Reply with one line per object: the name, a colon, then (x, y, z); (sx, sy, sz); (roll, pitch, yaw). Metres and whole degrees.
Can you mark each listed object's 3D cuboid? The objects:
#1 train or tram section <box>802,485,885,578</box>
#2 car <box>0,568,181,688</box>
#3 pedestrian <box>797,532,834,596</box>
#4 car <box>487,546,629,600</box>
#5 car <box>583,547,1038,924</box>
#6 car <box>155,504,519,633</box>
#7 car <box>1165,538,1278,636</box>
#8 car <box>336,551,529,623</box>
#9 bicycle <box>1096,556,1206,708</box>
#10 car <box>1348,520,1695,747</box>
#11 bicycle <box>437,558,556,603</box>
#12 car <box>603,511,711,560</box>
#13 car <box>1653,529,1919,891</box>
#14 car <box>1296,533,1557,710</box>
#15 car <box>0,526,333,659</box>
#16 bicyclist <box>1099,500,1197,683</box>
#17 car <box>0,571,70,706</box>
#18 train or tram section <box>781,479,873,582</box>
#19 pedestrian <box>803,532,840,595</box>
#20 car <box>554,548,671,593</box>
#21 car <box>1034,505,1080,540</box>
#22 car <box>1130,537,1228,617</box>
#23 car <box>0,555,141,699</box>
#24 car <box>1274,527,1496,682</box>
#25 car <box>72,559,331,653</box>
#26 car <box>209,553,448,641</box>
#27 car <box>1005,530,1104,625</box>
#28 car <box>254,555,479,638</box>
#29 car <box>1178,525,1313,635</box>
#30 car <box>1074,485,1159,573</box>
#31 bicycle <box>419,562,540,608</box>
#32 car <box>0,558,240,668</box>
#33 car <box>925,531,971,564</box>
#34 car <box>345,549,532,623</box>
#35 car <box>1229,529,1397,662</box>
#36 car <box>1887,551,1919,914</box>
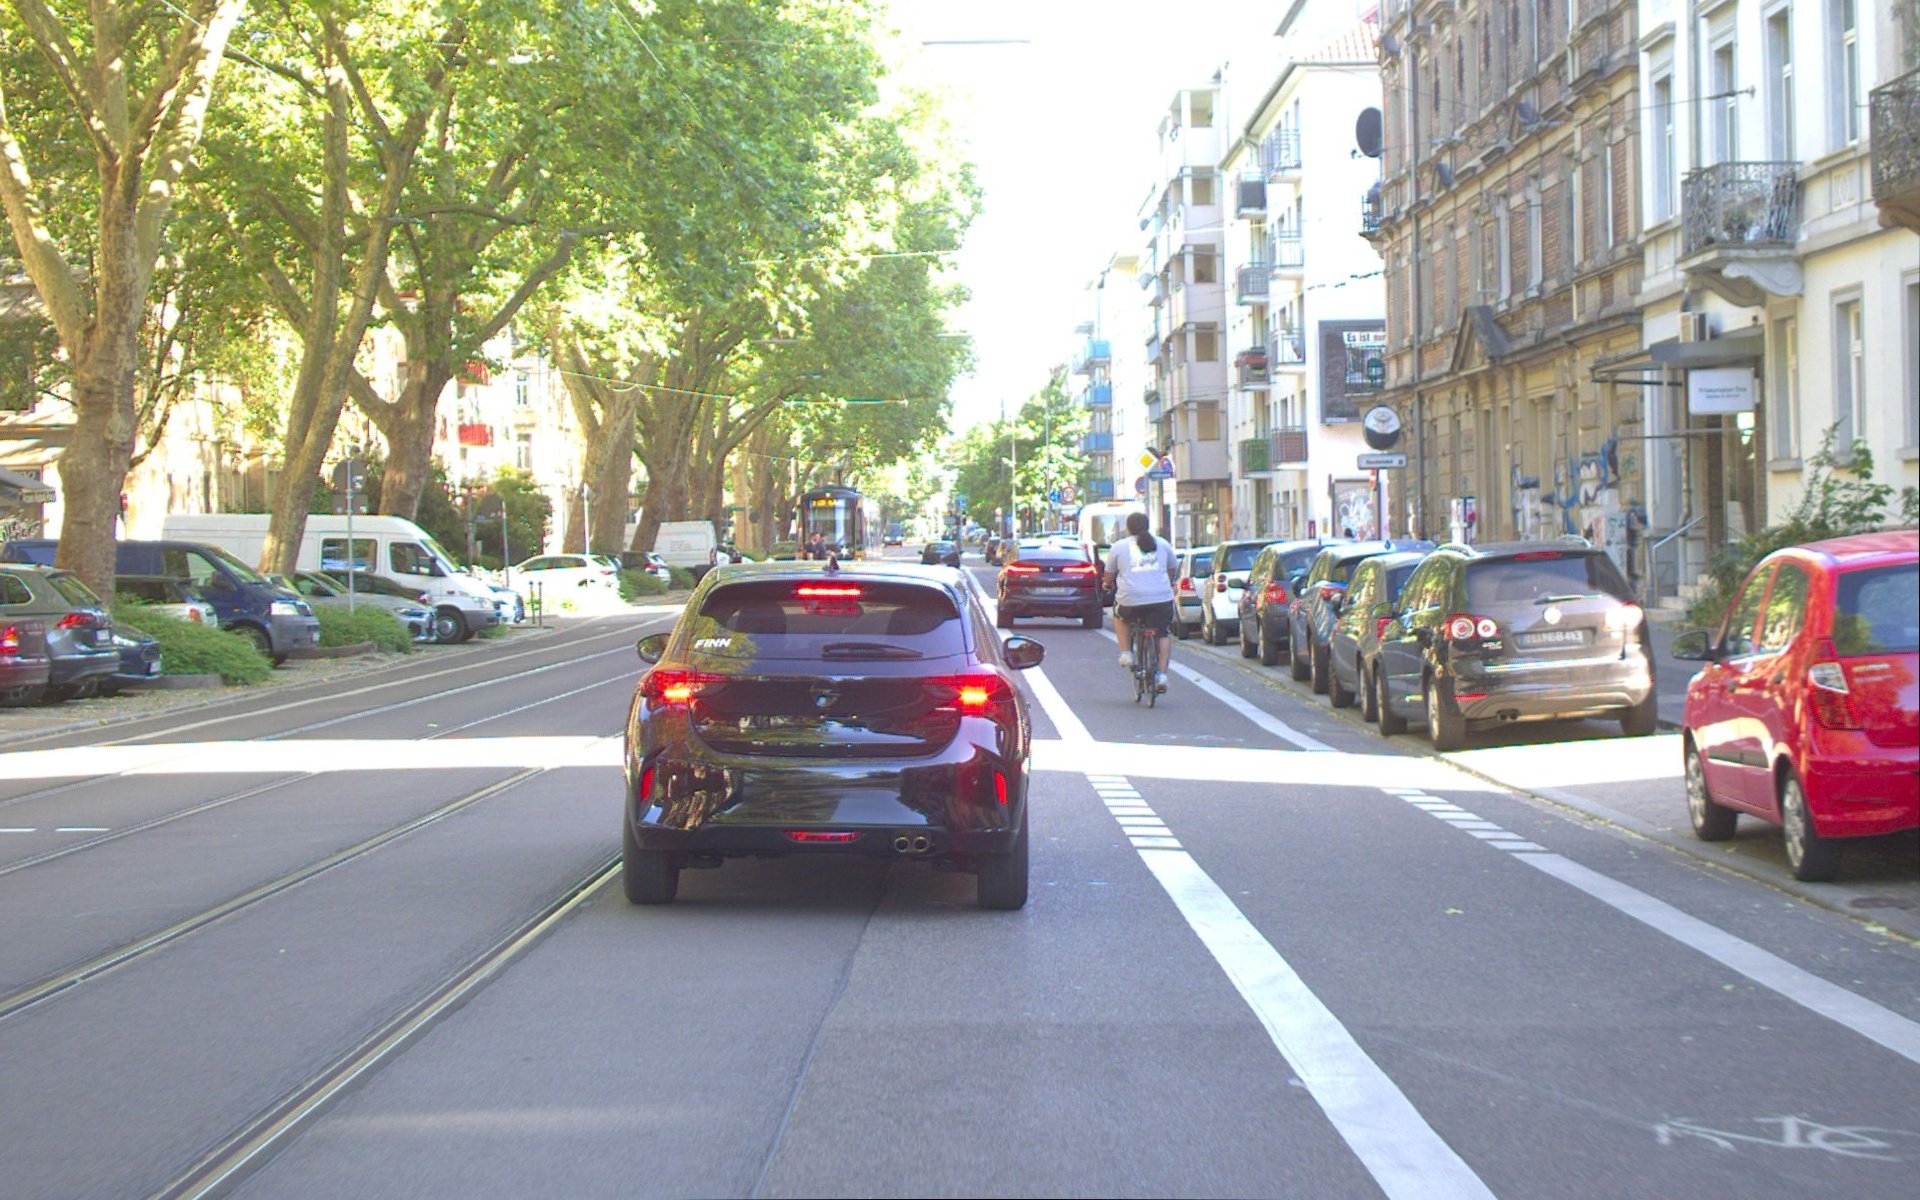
train or tram section: (-4.838, -2.863, 144.756); (2.735, 3.669, 12.716); (-2, 1, 1)
car: (-11.778, 0.319, 42.450); (3.919, 1.417, 1.819); (1, 1, -1)
pedestrian: (-3.583, -0.891, 85.130); (0.679, 1.561, 0.768); (0, 1, 18)
car: (-11.438, -0.780, 97.970); (3.919, 1.493, 1.677); (1, 1, -2)
car: (-0.603, 0.511, 15.428); (1.794, 1.436, 3.531); (0, 2, 0)
car: (-12.076, -0.619, 66.967); (6.628, 2.401, 2.458); (1, 1, 0)
car: (4.315, -0.244, 57.096); (1.705, 1.451, 3.697); (-4, 1, 3)
car: (-11.269, -0.282, 73.600); (3.919, 1.493, 1.677); (1, 1, -2)
bicycle: (1.827, 0.280, 33.198); (0.860, 1.402, 2.524); (0, 1, -1)
car: (4.473, 0.232, 27.985); (1.880, 1.580, 3.933); (-4, 1, -3)
bicycle: (-12.183, -0.506, 90.436); (2.945, 1.165, 0.989); (0, 1, 17)
car: (-11.299, -2.391, 128.380); (3.919, 1.784, 1.677); (1, 1, -2)
car: (4.525, 0.437, 16.664); (1.634, 1.541, 3.576); (-2, 1, 1)
car: (4.344, 0.167, 32.528); (1.798, 1.451, 3.768); (-4, 1, -1)
car: (-11.994, -0.121, 51.873); (4.675, 1.917, 1.980); (1, 1, 1)
bicyclist: (1.808, -0.088, 33.257); (0.848, 1.734, 1.162); (0, 1, -1)
car: (-11.980, 0.384, 37.791); (3.920, 1.437, 1.749); (1, 1, 1)
train or tram section: (-5.007, -2.635, 131.987); (2.735, 3.669, 12.716); (-2, 1, 1)
pedestrian: (-3.461, -0.904, 85.944); (0.679, 1.561, 0.768); (0, 1, 18)
car: (-12.016, -1.015, 119.054); (3.919, 1.493, 1.677); (1, 1, -2)
car: (4.086, -3.277, 145.251); (1.810, 1.333, 3.933); (-4, 1, 1)
car: (4.306, -0.472, 68.102); (1.662, 1.415, 3.933); (-4, 1, 1)
car: (-11.766, 0.283, 40.044); (3.994, 1.621, 1.879); (1, 1, 0)
car: (4.535, 0.014, 37.194); (1.880, 1.451, 4.026); (-4, 1, 1)
car: (-12.008, 0.083, 54.580); (3.734, 1.425, 1.637); (1, 1, 0)
car: (-11.231, -0.068, 61.289); (3.920, 1.493, 1.677); (1, 1, 2)
car: (1.793, -0.450, 65.711); (1.810, 1.736, 3.933); (-1, 1, 1)
car: (-11.122, -0.078, 64.583); (3.920, 1.493, 1.677); (1, 1, 0)
car: (4.290, -0.314, 52.037); (1.567, 1.512, 3.041); (-4, 1, -2)
car: (4.283, -1.952, 94.675); (2.075, 2.211, 4.933); (-4, 1, 1)
bicycle: (-12.478, -0.389, 89.304); (2.945, 1.165, 0.989); (0, 1, 17)
car: (-12.309, 0.169, 48.951); (3.734, 1.493, 1.746); (1, 1, 0)
car: (-0.487, -2.191, 144.203); (1.810, 1.333, 3.933); (-1, 1, 1)
car: (-11.518, -0.318, 76.061); (3.919, 1.572, 1.677); (1, 1, -2)
car: (4.402, -0.087, 43.355); (1.710, 1.478, 3.764); (-4, 1, 1)
car: (4.643, 0.527, 12.146); (1.651, 1.451, 3.868); (-2, 1, 0)
